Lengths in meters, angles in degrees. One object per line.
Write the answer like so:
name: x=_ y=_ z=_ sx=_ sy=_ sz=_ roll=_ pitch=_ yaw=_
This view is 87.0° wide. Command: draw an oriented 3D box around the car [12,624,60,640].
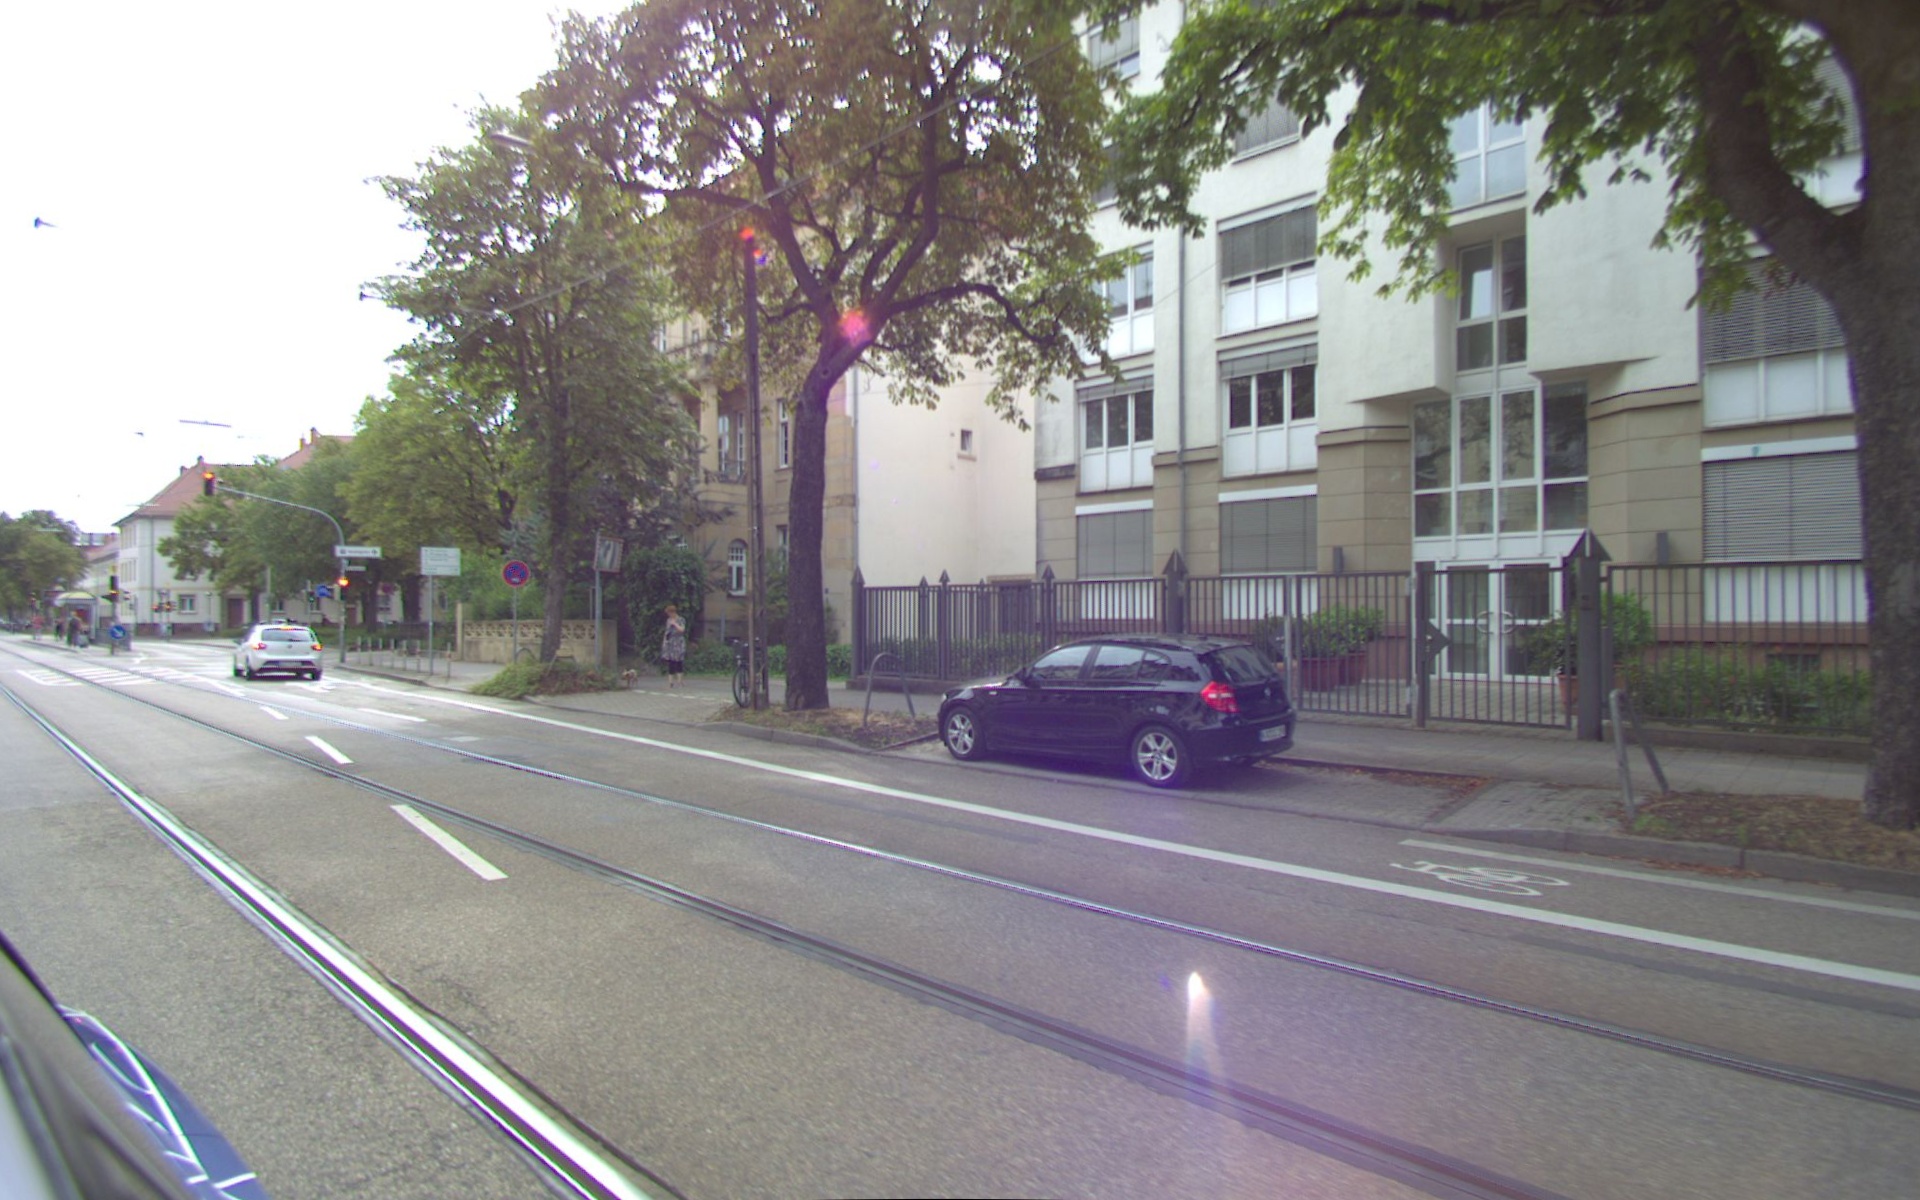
car: x=-105.391 y=3.648 z=115.447 sx=3.940 sy=1.739 sz=1.878 roll=0 pitch=-1 yaw=-44

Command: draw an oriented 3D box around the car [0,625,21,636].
car: x=-152.964 y=4.847 z=161.966 sx=3.940 sy=1.739 sz=1.878 roll=0 pitch=-1 yaw=-44

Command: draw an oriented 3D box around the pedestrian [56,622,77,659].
pedestrian: x=-42.220 y=1.899 z=47.819 sx=0.815 sy=1.703 sz=0.675 roll=-2 pitch=-2 yaw=43

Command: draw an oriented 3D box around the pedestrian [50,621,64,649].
pedestrian: x=-56.976 y=2.220 z=63.861 sx=0.618 sy=1.716 sz=0.580 roll=-1 pitch=-1 yaw=40

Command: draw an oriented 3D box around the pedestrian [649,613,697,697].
pedestrian: x=-6.115 y=1.150 z=21.591 sx=0.700 sy=1.749 sz=0.698 roll=-1 pitch=-1 yaw=39

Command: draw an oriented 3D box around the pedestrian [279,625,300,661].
pedestrian: x=-32.881 y=2.098 z=49.644 sx=0.711 sy=1.703 sz=0.646 roll=-1 pitch=-2 yaw=40

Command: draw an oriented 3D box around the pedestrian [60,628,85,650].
pedestrian: x=-51.240 y=2.246 z=58.414 sx=0.723 sy=1.246 sz=1.019 roll=-2 pitch=-1 yaw=42

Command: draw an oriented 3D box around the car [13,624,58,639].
car: x=-111.743 y=3.814 z=122.314 sx=3.940 sy=1.739 sz=1.878 roll=0 pitch=-1 yaw=-44

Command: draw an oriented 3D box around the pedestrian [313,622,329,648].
pedestrian: x=-49.888 y=2.704 z=78.972 sx=0.850 sy=2.029 sz=0.766 roll=-1 pitch=-1 yaw=-12

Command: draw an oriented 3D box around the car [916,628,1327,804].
car: x=1.565 y=1.074 z=10.928 sx=1.700 sy=1.435 sz=4.168 roll=-2 pitch=1 yaw=-44

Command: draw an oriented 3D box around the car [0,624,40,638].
car: x=-126.845 y=4.190 z=136.630 sx=3.940 sy=1.739 sz=1.878 roll=0 pitch=-1 yaw=-44

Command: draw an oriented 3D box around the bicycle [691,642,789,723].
bicycle: x=-3.678 y=1.353 z=17.134 sx=0.826 sy=1.184 sz=2.229 roll=-1 pitch=-1 yaw=11

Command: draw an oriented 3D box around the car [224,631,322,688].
car: x=-18.586 y=1.574 z=27.315 sx=1.552 sy=1.427 sz=4.004 roll=4 pitch=-4 yaw=-42

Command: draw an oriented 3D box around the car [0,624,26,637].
car: x=-140.899 y=4.539 z=149.801 sx=3.940 sy=1.739 sz=1.878 roll=0 pitch=-1 yaw=-44

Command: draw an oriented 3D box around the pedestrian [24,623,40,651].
pedestrian: x=-61.458 y=2.443 z=67.037 sx=0.463 sy=1.848 sz=0.651 roll=-1 pitch=-1 yaw=30

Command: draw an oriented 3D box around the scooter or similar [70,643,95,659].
scooter or similar: x=-41.422 y=2.391 z=47.774 sx=0.659 sy=0.718 sz=0.605 roll=2 pitch=-2 yaw=-15

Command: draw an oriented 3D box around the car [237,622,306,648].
car: x=-54.642 y=2.770 z=80.388 sx=4.130 sy=1.879 sz=1.858 roll=-1 pitch=-1 yaw=-11
